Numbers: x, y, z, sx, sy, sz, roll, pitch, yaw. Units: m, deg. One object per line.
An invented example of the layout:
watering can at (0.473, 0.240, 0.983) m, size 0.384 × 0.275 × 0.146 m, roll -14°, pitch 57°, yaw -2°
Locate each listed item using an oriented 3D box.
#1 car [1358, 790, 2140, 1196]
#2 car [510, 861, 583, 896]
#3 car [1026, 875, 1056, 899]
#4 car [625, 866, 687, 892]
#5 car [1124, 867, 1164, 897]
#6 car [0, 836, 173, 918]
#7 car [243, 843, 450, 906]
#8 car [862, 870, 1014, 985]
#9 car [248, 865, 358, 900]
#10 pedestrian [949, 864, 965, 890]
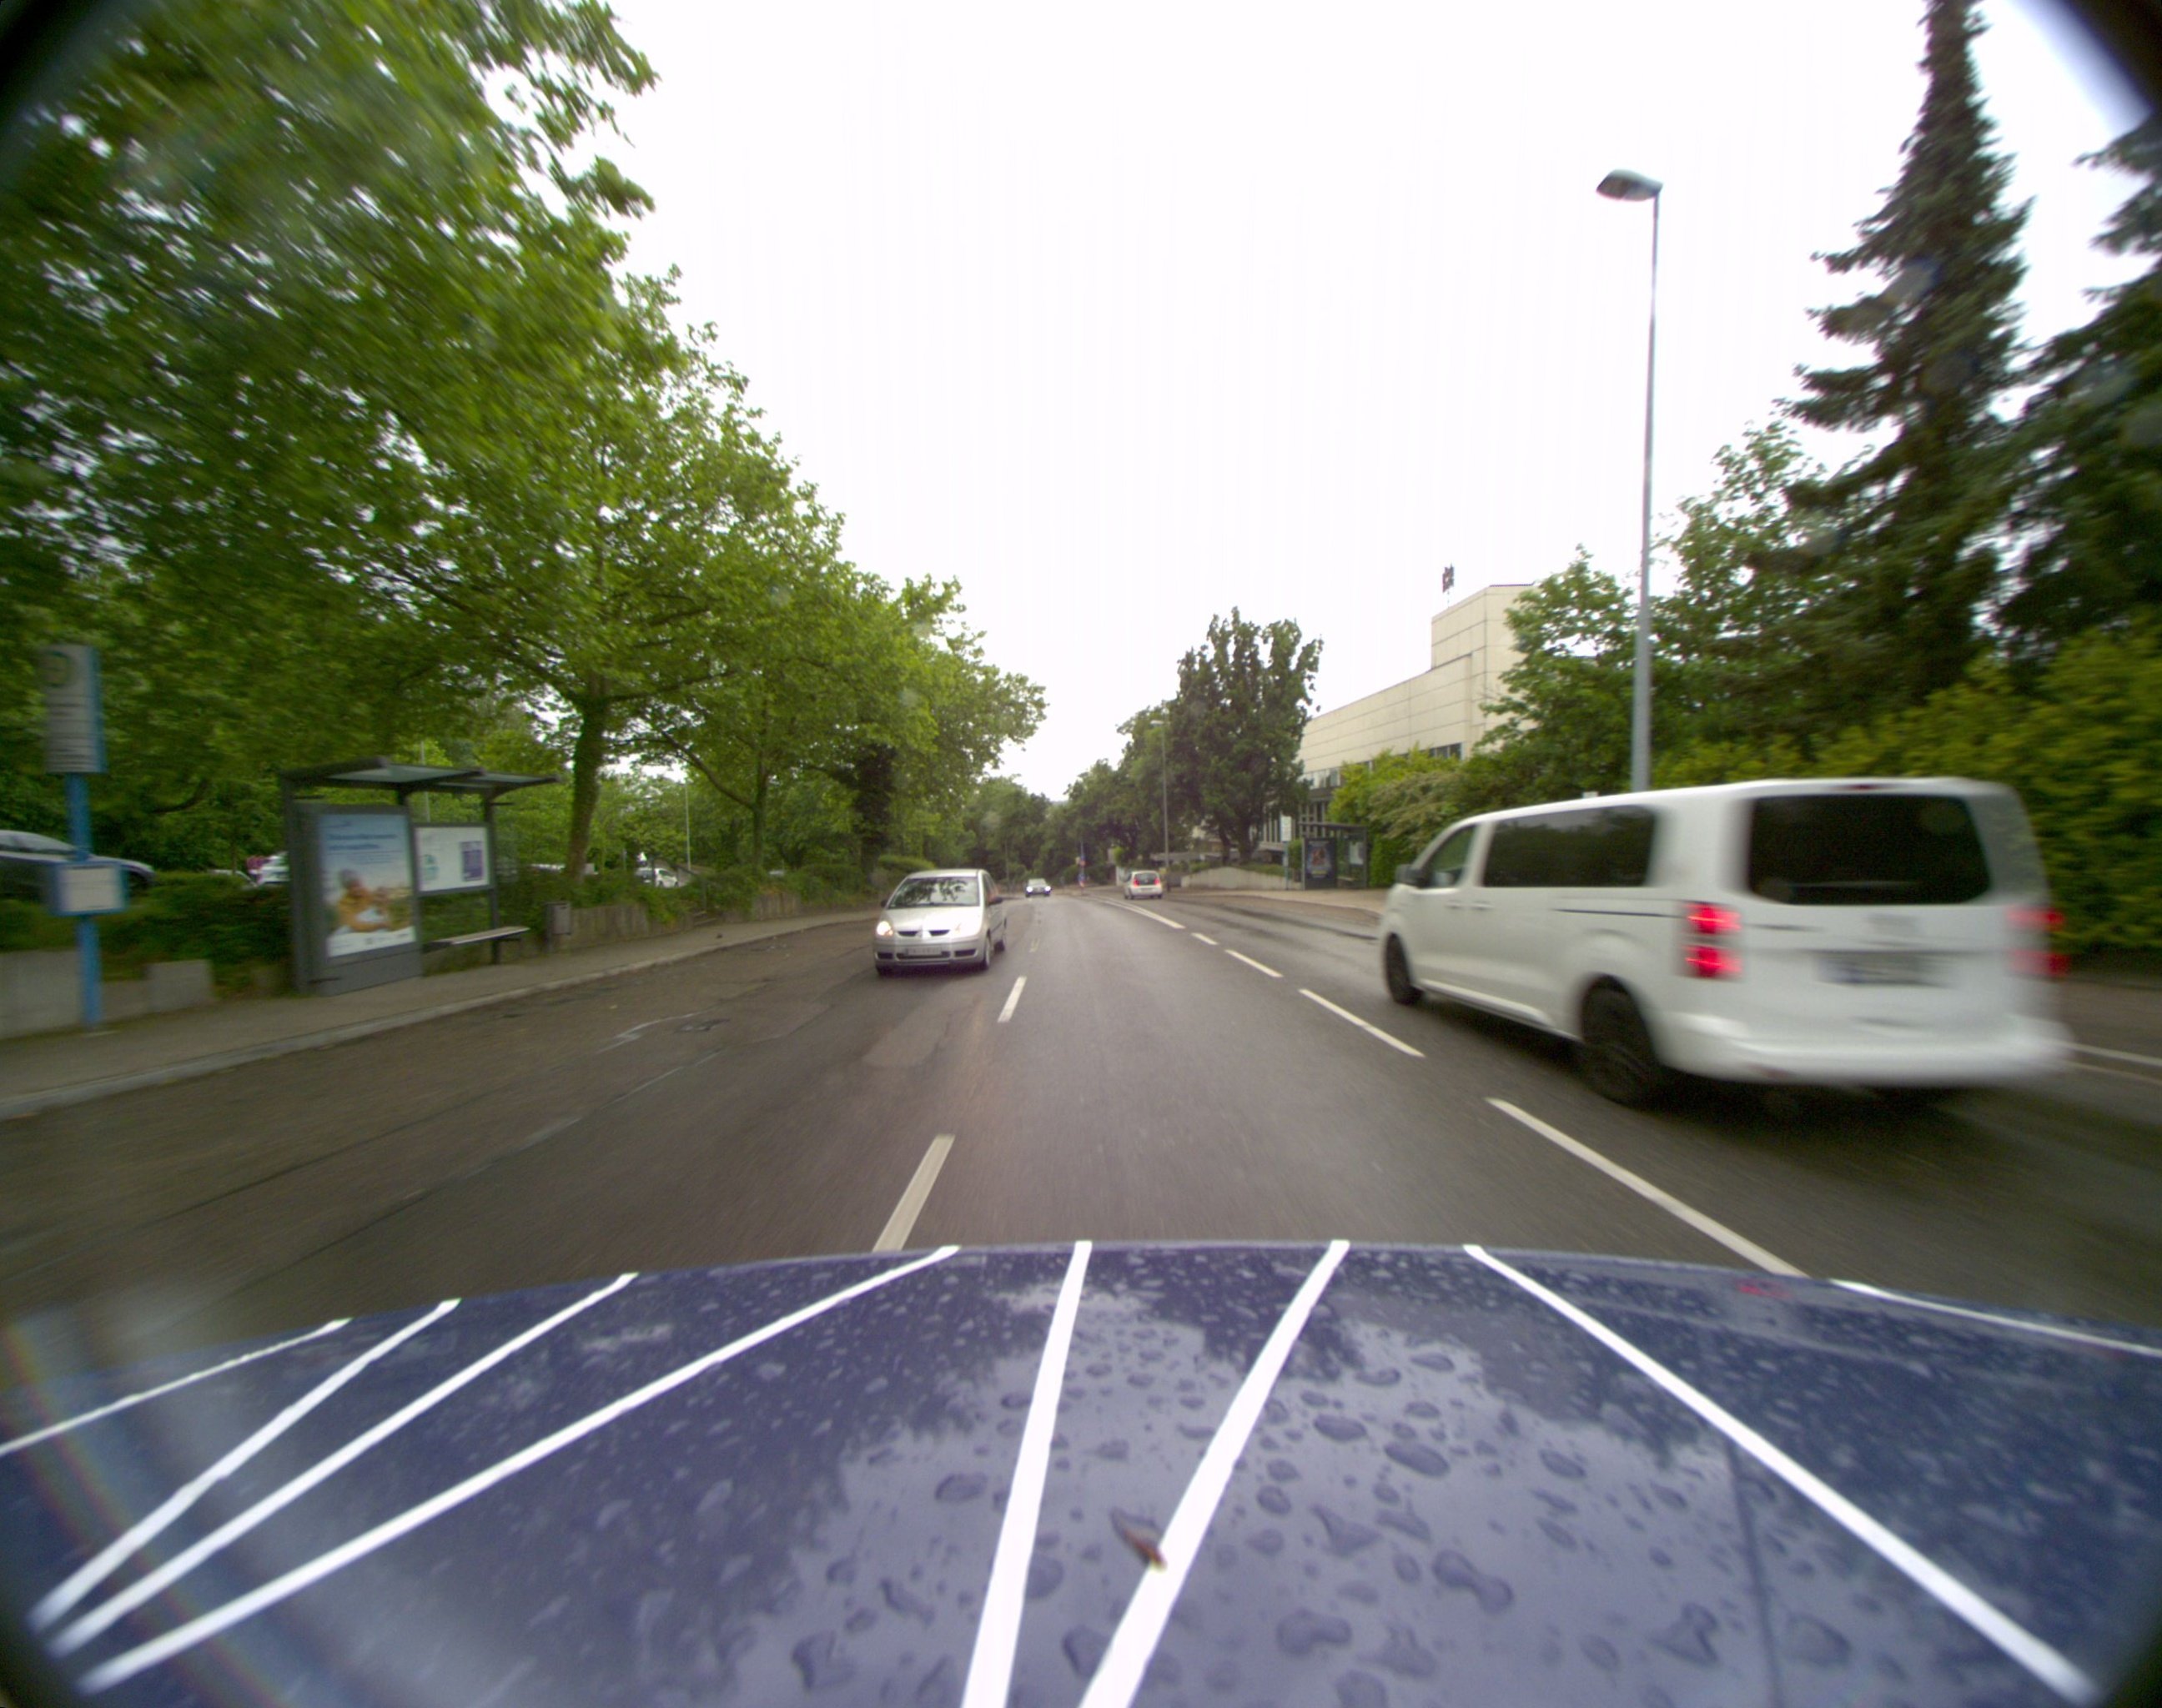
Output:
car at (4.070, 0.661, 6.105) m, size 1.868 × 1.905 × 5.029 m, roll 1°, pitch 0°, yaw 1°
car at (-33.693, 1.573, 48.014) m, size 1.707 × 2.001 × 4.354 m, roll -4°, pitch -2°, yaw -4°
car at (-3.133, 2.614, 60.626) m, size 2.035 × 1.690 × 4.002 m, roll -4°, pitch -2°, yaw 1°
car at (-27.490, 1.642, 49.320) m, size 1.900 × 1.444 × 4.171 m, roll -4°, pitch -2°, yaw -5°
car at (3.286, 1.449, 40.247) m, size 1.690 × 1.445 × 3.398 m, roll -2°, pitch -1°, yaw -2°
car at (-20.975, 0.484, 14.698) m, size 1.900 × 1.444 × 4.171 m, roll -4°, pitch -2°, yaw -4°
car at (-20.150, 0.591, 21.153) m, size 1.900 × 1.444 × 4.171 m, roll -4°, pitch -2°, yaw -5°
car at (-2.190, 1.101, 12.693) m, size 1.640 × 1.495 × 4.001 m, roll -4°, pitch -2°, yaw 1°
car at (-37.785, 1.379, 37.038) m, size 1.707 × 1.513 × 3.628 m, roll -4°, pitch -2°, yaw -4°
pedestrian at (-9.271, 1.738, 56.922) m, size 1.054 × 1.882 × 1.132 m, roll -2°, pitch 0°, yaw -9°
